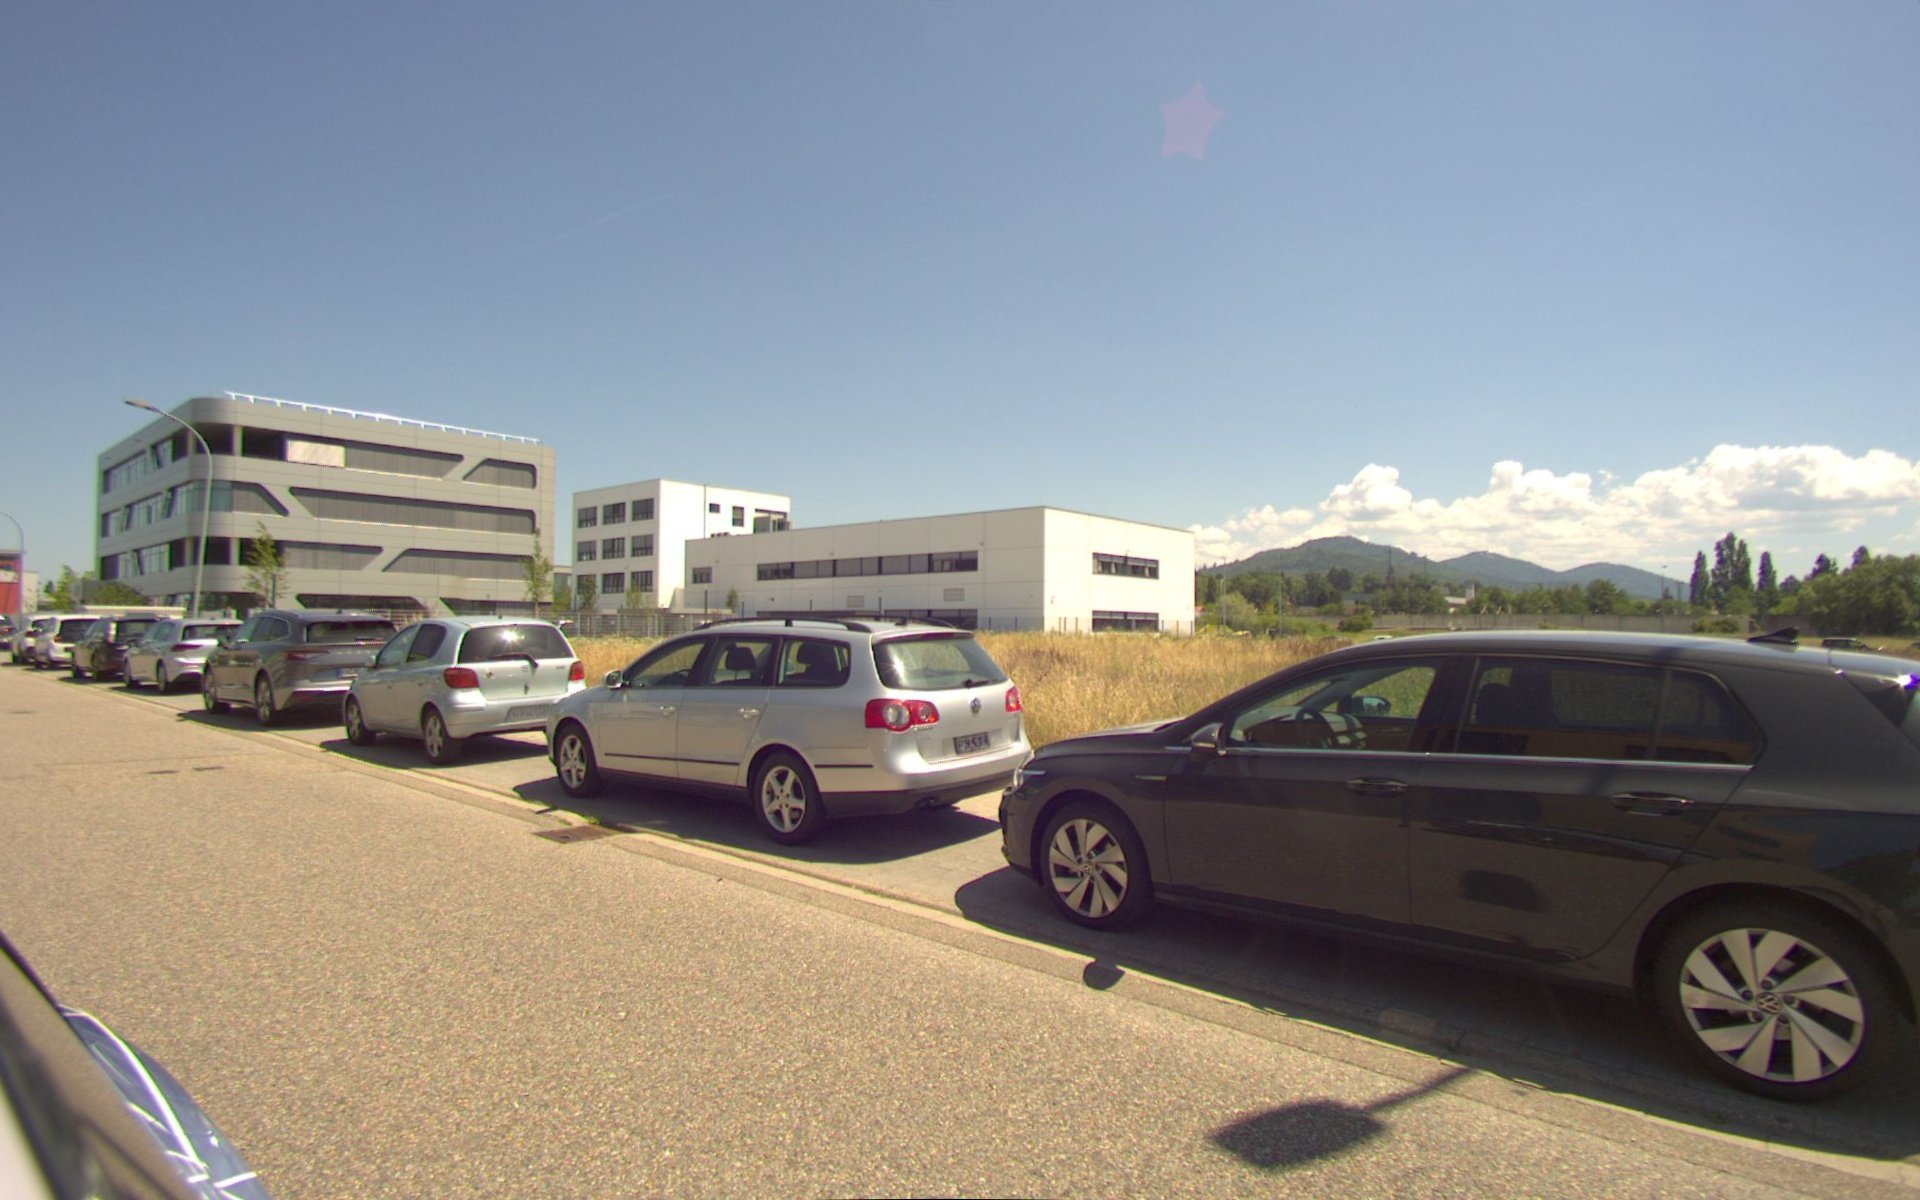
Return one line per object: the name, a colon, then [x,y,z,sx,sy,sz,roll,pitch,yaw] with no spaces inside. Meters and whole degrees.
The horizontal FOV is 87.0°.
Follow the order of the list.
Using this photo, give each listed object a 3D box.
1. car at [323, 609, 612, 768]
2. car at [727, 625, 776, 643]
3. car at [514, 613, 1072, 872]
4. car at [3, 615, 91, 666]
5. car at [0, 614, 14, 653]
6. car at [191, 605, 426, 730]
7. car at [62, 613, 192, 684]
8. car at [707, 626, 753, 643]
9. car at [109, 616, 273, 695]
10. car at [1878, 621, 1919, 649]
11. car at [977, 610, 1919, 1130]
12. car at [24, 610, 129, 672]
car: [-5.766,0.879,11.677,3.733,1.537,1.676,-1,-1,41]
car: [-18.438,3.017,89.565,1.921,1.597,3.945,-2,-3,41]
car: [-1.593,0.862,8.132,4.812,1.492,1.757,-1,-1,41]
car: [-29.531,1.265,32.684,4.365,1.554,1.767,-1,-1,43]
car: [-44.483,1.527,45.981,4.620,1.732,1.784,-1,-1,42]
car: [-9.861,0.896,15.180,4.460,1.619,1.772,-1,-1,41]
car: [-20.101,1.102,24.360,4.377,1.529,1.745,-1,-1,41]
car: [-21.249,3.213,93.679,1.917,1.597,3.953,-1,-3,34]
car: [-15.981,1.072,20.957,4.195,1.462,1.746,-1,-1,39]
car: [70.846,2.570,74.380,4.918,2.029,1.973,-1,-2,41]
car: [2.275,0.800,4.585,4.227,1.492,1.837,-1,-1,41]
car: [-25.763,1.150,29.482,3.766,1.669,1.769,-1,-1,40]
